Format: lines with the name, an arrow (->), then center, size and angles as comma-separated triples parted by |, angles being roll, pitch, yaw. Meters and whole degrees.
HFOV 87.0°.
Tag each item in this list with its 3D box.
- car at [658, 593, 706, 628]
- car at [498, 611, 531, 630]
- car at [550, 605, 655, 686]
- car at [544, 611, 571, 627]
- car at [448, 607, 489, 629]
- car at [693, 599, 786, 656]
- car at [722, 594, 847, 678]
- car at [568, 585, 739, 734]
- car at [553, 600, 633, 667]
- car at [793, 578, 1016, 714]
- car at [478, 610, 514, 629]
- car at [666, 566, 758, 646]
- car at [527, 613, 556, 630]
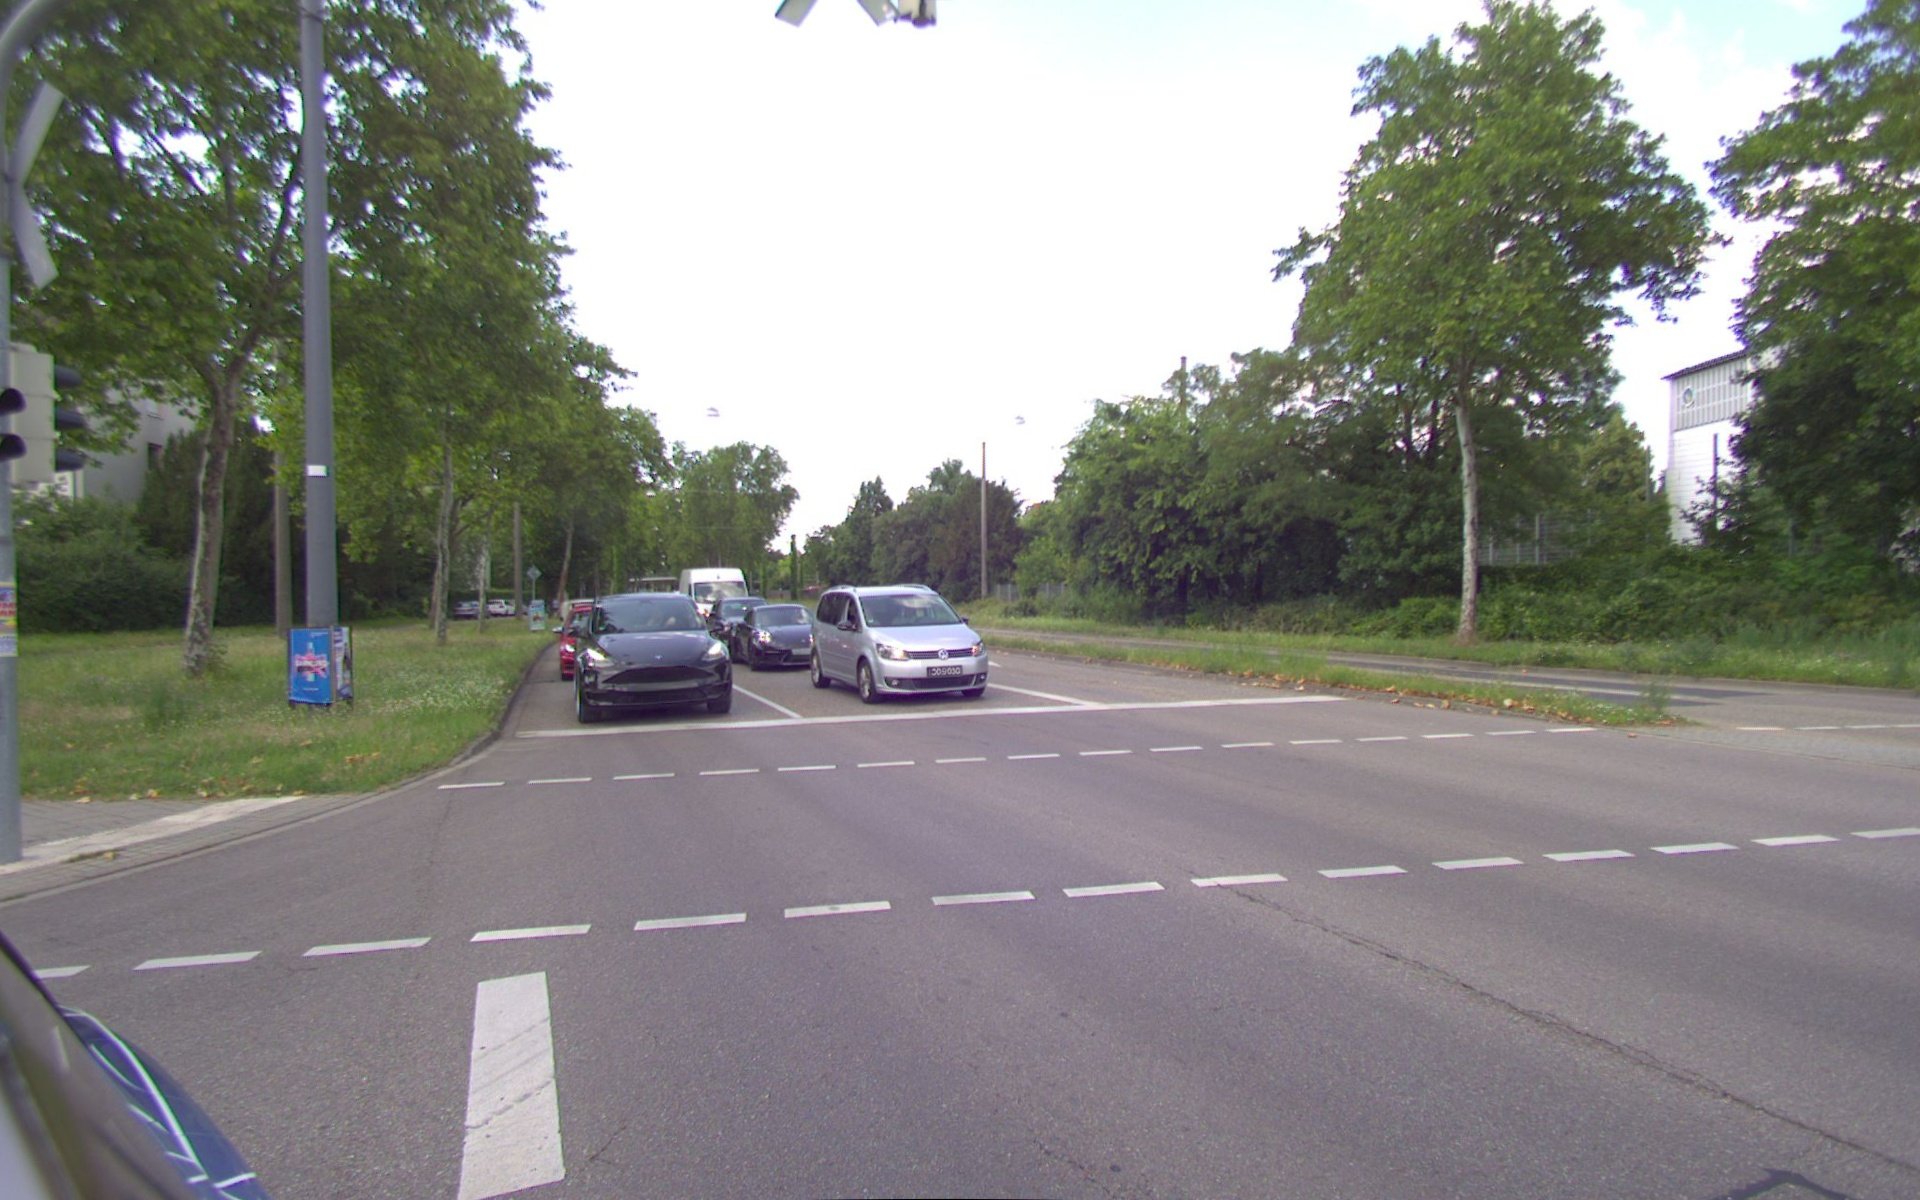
car -> -14.169, 0.518, 51.436 | 1.734, 1.659, 4.358 | -1, 0, -23
car -> -40.131, 1.844, 91.308 | 1.749, 1.608, 3.662 | -1, -2, -7
car -> -7.625, 0.864, 21.314 | 1.771, 1.401, 4.517 | -3, 1, -23
car -> -43.704, 2.061, 109.937 | 1.749, 1.608, 3.662 | -1, -2, -7
car -> -37.876, 1.403, 78.035 | 1.749, 1.608, 3.662 | -1, -2, -7
car -> -6.258, 0.703, 28.377 | 1.734, 1.385, 4.358 | -3, 1, -23
car -> -3.806, 0.675, 21.374 | 1.773, 1.519, 4.013 | -3, 1, -21
car -> -4.471, 0.682, 14.258 | 1.898, 1.664, 4.595 | -3, 1, -21
car -> -10.036, 0.824, 27.483 | 1.771, 1.581, 4.517 | -3, 1, -23
car -> -1.025, 0.574, 15.316 | 1.897, 1.664, 4.517 | -3, 1, -23
car -> -39.823, 1.699, 86.900 | 1.749, 1.608, 3.662 | -1, -2, -7
car -> -8.994, 0.194, 36.281 | 2.189, 2.549, 5.953 | -3, 1, -23
car -> -42.189, 2.210, 102.160 | 1.749, 1.608, 3.662 | -1, -2, -7
